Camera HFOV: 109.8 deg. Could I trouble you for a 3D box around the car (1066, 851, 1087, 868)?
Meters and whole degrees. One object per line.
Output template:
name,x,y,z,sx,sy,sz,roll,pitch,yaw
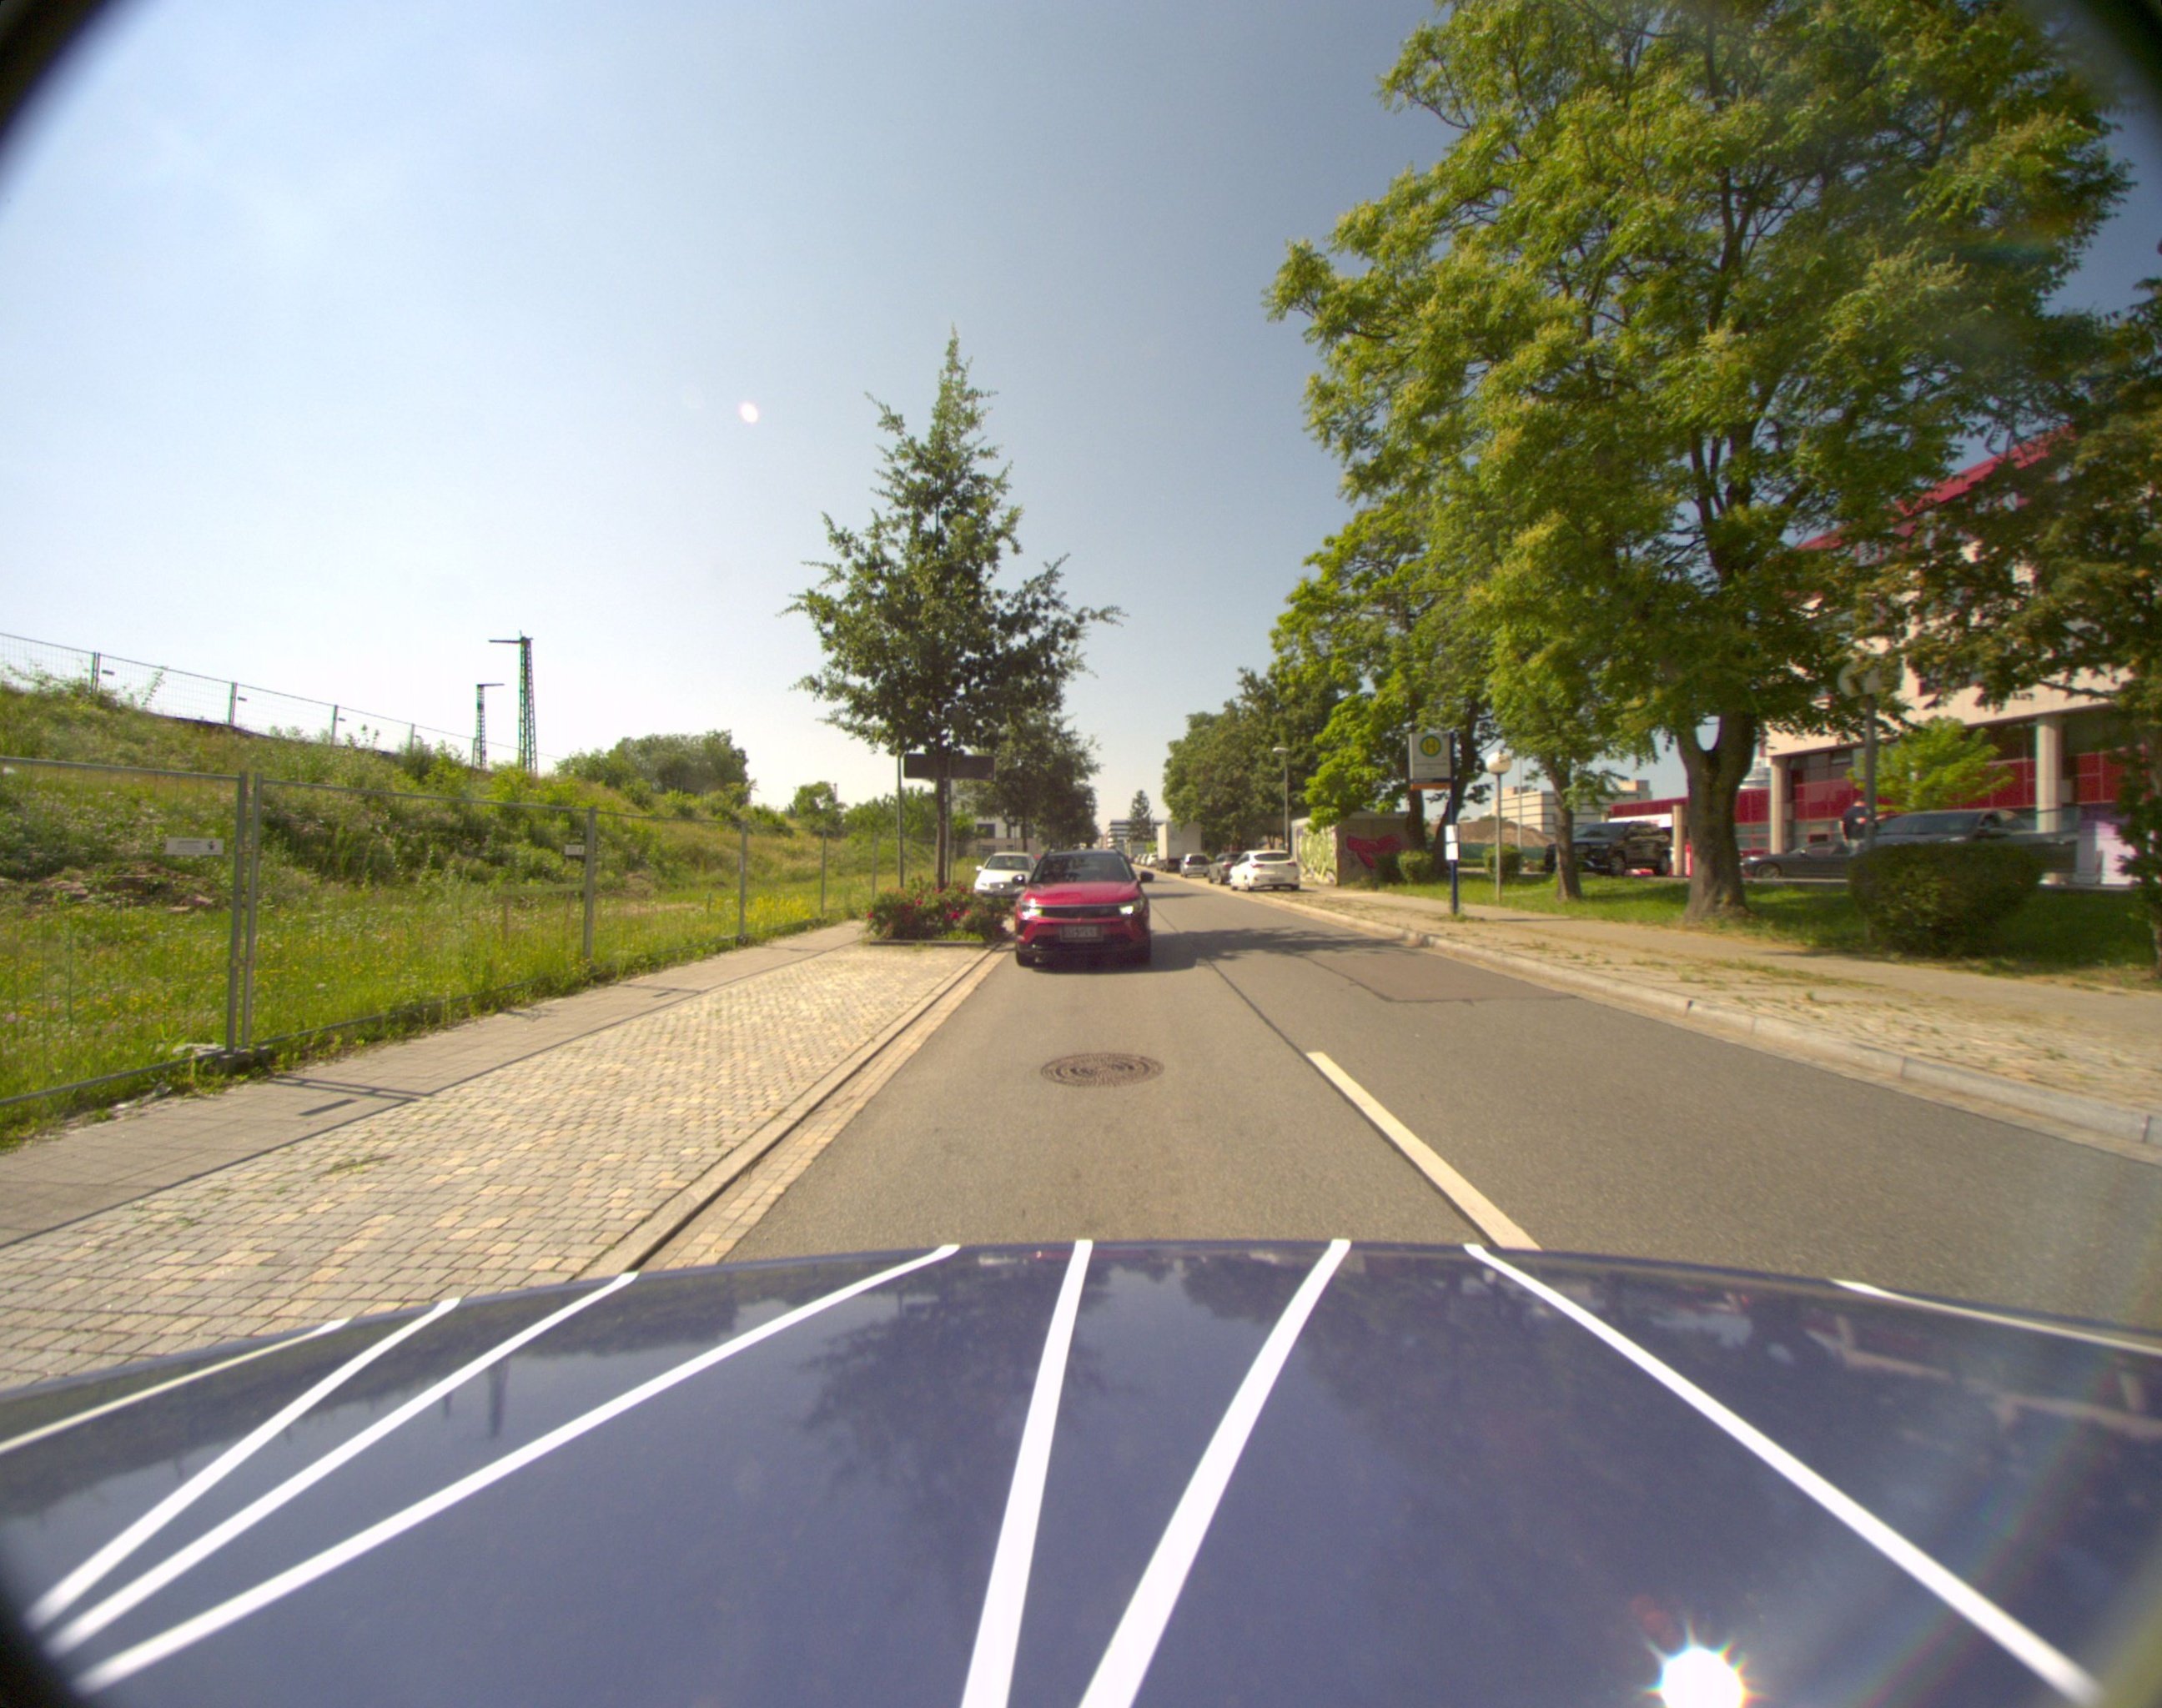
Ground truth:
car,-0.417,0.504,72.885,1.847,1.606,4.000,1,0,1

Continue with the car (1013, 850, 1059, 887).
car,-2.075,0.641,36.039,1.847,1.606,4.000,1,0,1

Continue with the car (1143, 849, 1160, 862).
car,8.784,0.140,94.851,1.814,1.506,4.001,-2,0,3

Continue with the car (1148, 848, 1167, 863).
car,8.434,0.191,83.804,1.814,1.506,4.001,-3,0,3

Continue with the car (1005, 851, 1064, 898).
car,-1.663,0.730,28.553,1.847,1.606,4.000,1,0,1

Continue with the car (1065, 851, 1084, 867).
car,-0.672,0.482,80.778,1.847,1.606,4.000,2,0,1

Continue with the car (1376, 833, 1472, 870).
car,17.507,-0.134,38.723,4.724,1.793,1.996,-1,-1,-29

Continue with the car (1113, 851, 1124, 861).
car,6.429,0.350,131.353,1.790,1.783,4.001,-1,0,2

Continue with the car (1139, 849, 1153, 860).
car,9.170,0.093,107.223,1.814,1.506,4.001,-2,0,3

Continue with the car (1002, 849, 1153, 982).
car,-0.047,0.787,11.596,1.821,1.594,4.307,-2,-1,0

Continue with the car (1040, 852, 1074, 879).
car,-1.425,0.688,45.955,1.868,1.533,4.000,-1,0,1

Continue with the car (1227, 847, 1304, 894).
car,6.540,0.544,27.352,1.765,1.484,4.000,-2,0,0

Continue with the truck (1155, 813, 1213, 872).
truck,7.852,-0.848,59.255,3.353,4.119,9.278,-2,0,2

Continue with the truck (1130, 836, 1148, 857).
truck,9.349,-1.129,123.002,2.701,3.300,7.345,-1,0,4

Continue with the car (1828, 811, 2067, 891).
car,16.777,-0.080,14.719,3.993,1.330,1.715,-2,0,-20

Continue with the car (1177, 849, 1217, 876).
car,7.023,0.478,46.431,1.814,1.506,4.000,-2,0,0

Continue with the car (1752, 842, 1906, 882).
car,29.230,0.308,29.870,4.228,1.443,1.726,-1,0,44

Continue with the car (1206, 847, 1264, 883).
car,6.939,0.471,34.666,1.814,1.506,4.000,-2,0,0

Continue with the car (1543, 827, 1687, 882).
car,16.435,-0.018,23.332,4.824,1.484,1.848,-2,0,-32

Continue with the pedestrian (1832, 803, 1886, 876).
pedestrian,16.729,-0.300,16.357,0.563,1.518,0.758,-1,1,23

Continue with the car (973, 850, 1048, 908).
car,-2.149,0.744,24.207,1.847,1.606,4.370,2,0,1

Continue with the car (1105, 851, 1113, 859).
car,6.584,0.313,180.556,1.764,1.783,4.001,-1,0,4

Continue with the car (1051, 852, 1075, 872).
car,-1.511,0.642,63.860,1.847,1.606,4.000,1,0,1
